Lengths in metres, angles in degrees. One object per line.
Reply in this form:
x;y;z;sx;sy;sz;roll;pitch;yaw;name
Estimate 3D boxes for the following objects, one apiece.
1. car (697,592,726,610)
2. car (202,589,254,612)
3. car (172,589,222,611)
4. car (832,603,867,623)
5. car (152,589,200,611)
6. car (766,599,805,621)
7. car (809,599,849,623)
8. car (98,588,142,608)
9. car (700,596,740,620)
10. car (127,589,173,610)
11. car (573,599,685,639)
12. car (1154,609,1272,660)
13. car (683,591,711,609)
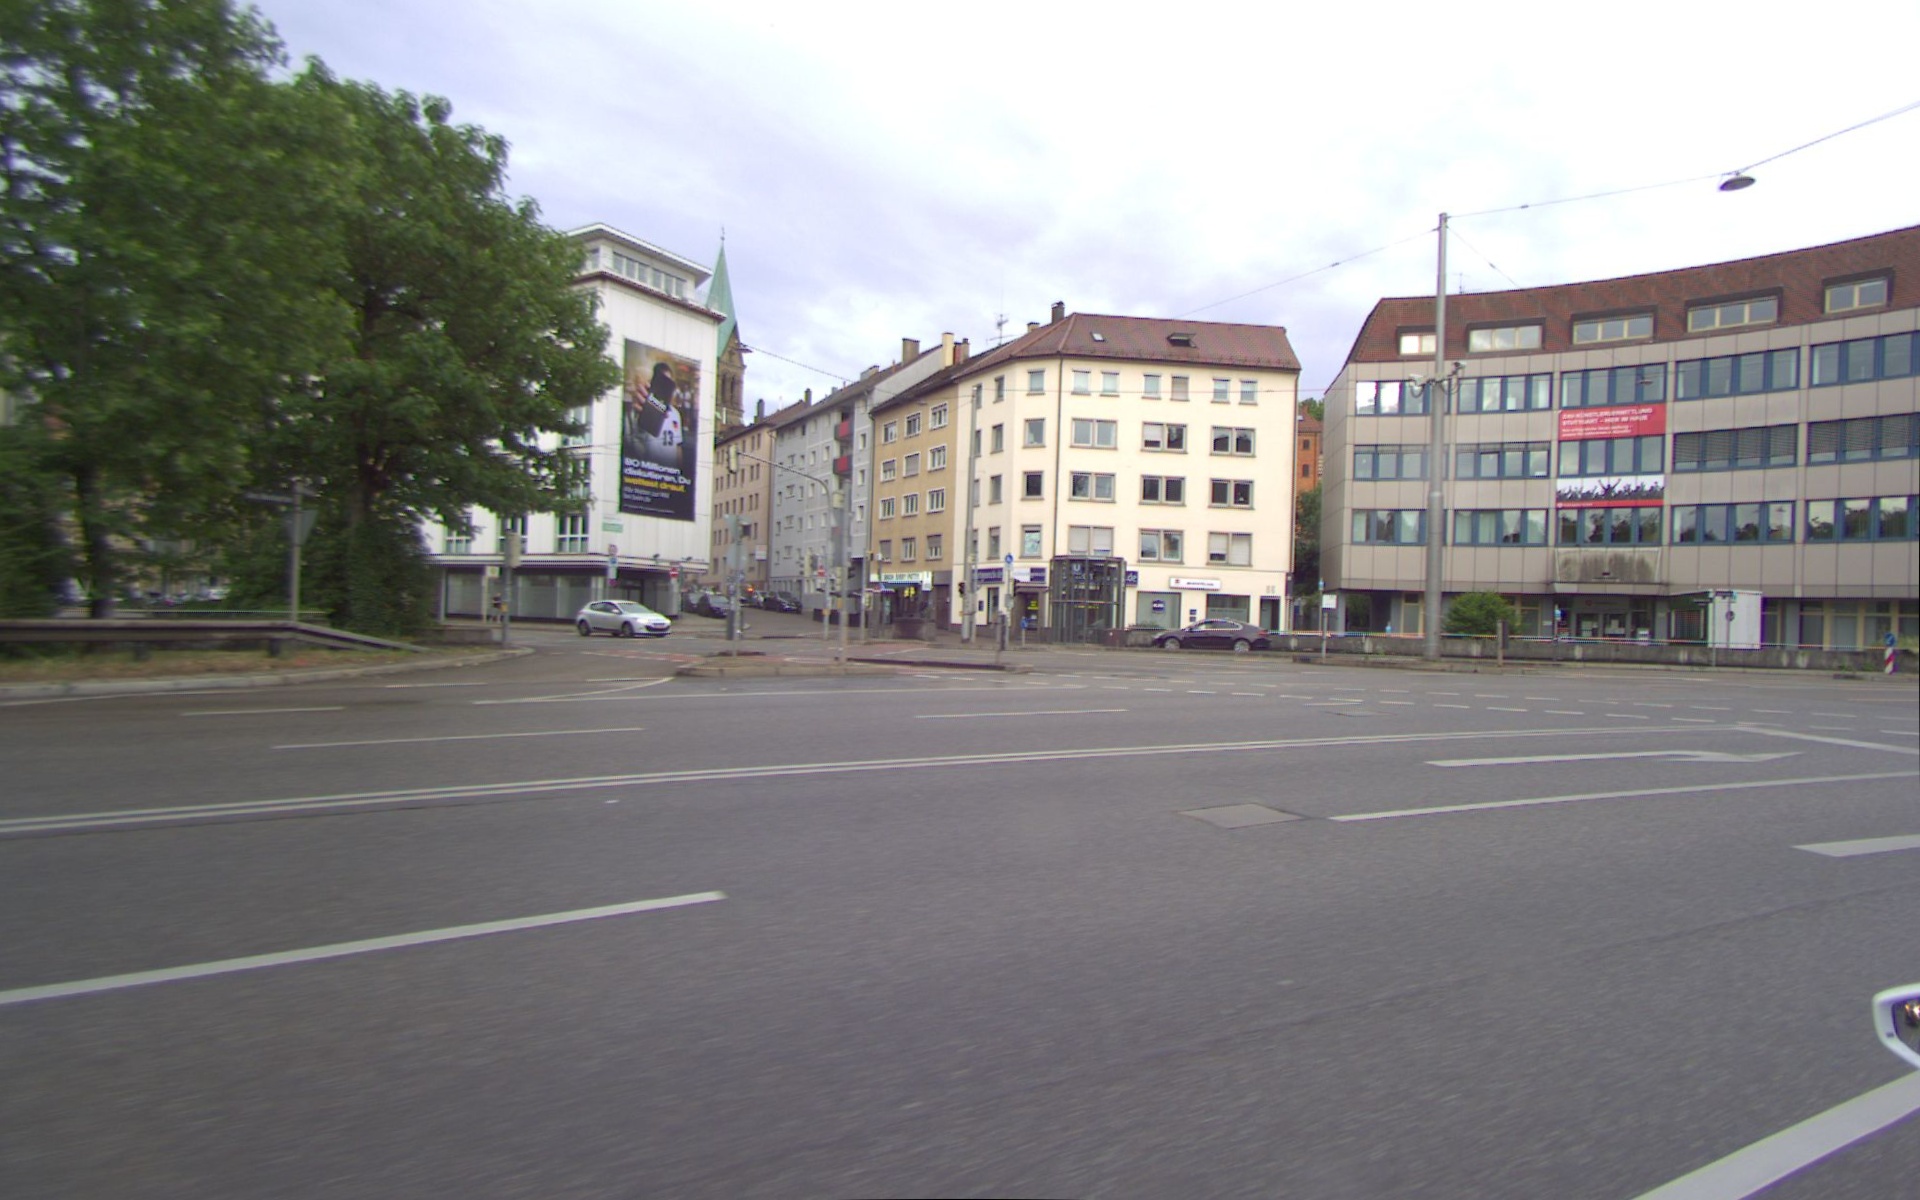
-23.849;0.057;96.316;1.893;1.612;3.973;3;0;-26;car
-55.063;0.048;75.561;3.933;1.598;1.871;1;-2;34;car
-59.485;-0.015;78.319;3.933;1.598;1.871;1;-2;34;car
-7.447;0.855;67.438;1.386;1.246;3.143;3;-2;-26;car
-63.179;-0.006;80.918;3.933;1.598;1.871;1;-2;34;car
-13.620;0.785;78.277;1.893;1.611;3.974;3;-2;-26;car
-9.585;0.820;73.162;1.738;1.611;3.772;3;-2;-26;car
-72.750;-0.192;86.971;3.933;1.598;1.871;1;-2;34;car
-16.949;0.591;70.713;1.893;1.611;3.974;3;-2;-26;car
-67.582;-0.065;83.788;3.933;1.598;1.871;1;-2;34;car
-13.154;0.756;39.884;4.154;1.470;1.996;1;-2;31;car
10.140;1.365;40.215;4.353;1.867;2.000;1;-2;21;car
-26.396;0.003;100.768;1.893;1.612;3.973;3;0;-26;car
